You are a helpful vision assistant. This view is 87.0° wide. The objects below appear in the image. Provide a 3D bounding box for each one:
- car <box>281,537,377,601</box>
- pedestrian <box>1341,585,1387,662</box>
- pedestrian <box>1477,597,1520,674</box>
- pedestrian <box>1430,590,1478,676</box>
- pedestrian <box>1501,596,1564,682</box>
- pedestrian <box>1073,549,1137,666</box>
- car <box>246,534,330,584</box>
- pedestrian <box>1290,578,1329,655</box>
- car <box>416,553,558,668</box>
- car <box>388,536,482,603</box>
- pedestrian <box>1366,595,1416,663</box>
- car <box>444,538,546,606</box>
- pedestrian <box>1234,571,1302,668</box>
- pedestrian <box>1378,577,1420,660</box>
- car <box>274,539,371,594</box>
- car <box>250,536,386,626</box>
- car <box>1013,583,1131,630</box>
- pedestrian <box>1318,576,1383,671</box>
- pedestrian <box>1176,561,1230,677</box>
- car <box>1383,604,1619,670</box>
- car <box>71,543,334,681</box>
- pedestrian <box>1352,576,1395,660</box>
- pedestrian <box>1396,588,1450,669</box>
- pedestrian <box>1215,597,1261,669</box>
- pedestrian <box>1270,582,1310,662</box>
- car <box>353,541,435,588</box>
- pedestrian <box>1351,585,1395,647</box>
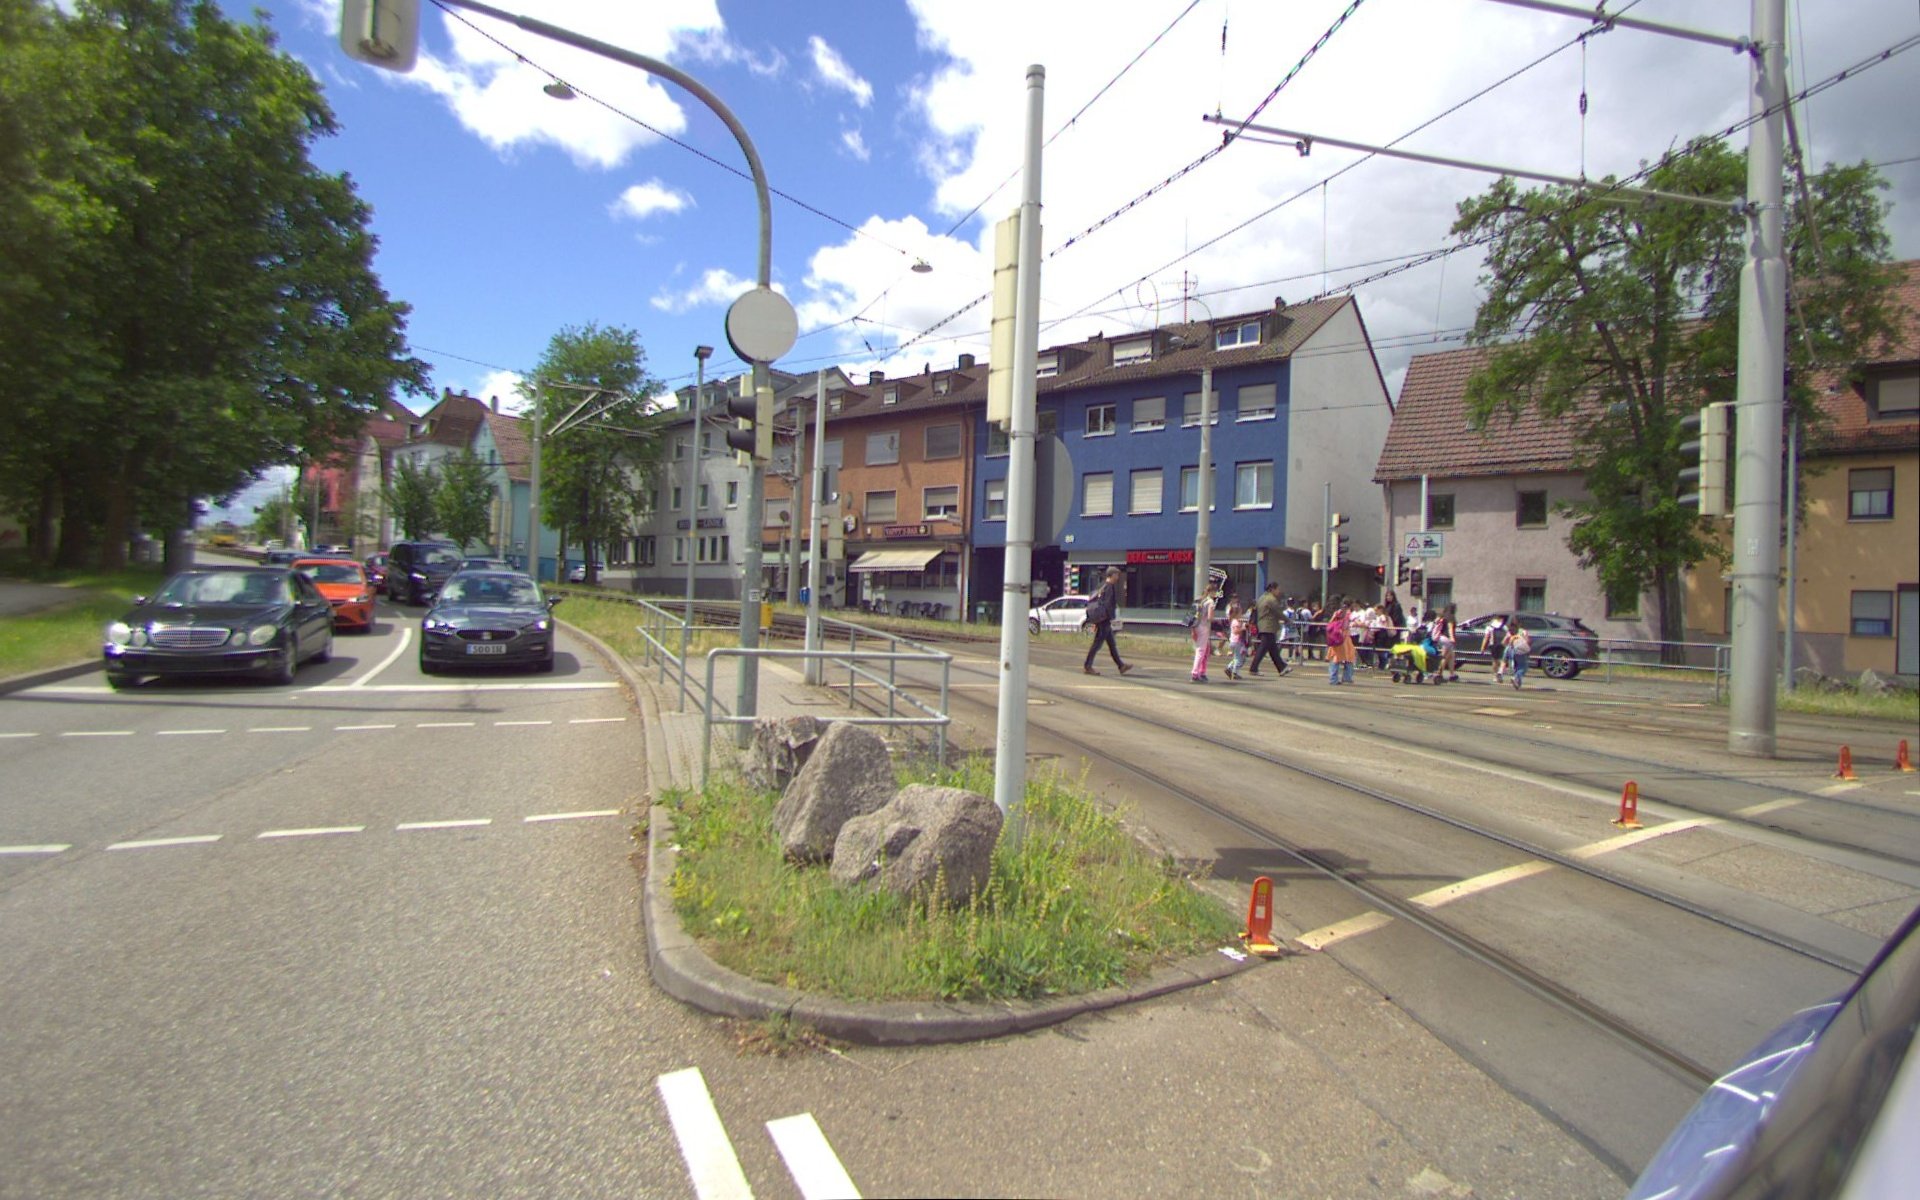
[{"bbox_3d":[-16.349,-0.794,26.381,1.864,1.482,4.005,1,1,-29],"label":"car"},{"bbox_3d":[8.514,0.497,21.347,0.575,1.586,0.676,3,-2,-22],"label":"pedestrian"},{"bbox_3d":[10.299,0.663,19.344,0.584,1.418,0.666,2,0,39],"label":"pedestrian"},{"bbox_3d":[9.289,0.605,19.026,0.585,1.546,0.664,3,1,44],"label":"pedestrian"},{"bbox_3d":[10.203,0.691,18.059,0.764,1.488,0.542,1,0,-2],"label":"pedestrian"},{"bbox_3d":[2.421,0.112,16.822,0.952,1.864,0.823,3,0,10],"label":"pedestrian"},{"bbox_3d":[-23.808,-1.432,35.814,1.965,1.639,3.994,1,1,-41],"label":"car"},{"bbox_3d":[8.240,0.384,23.884,0.672,1.771,0.579,2,1,41],"label":"pedestrian"},{"bbox_3d":[-7.131,0.045,15.594,1.703,1.455,4.104,0,4,-21],"label":"car"},{"bbox_3d":[-16.291,-0.945,31.315,1.818,1.904,4.146,1,1,-38],"label":"car"},{"bbox_3d":[9.122,0.613,21.439,0.575,1.392,0.782,1,1,-15],"label":"pedestrian"},{"bbox_3d":[-12.607,-0.753,27.304,1.890,1.659,4.002,1,1,-34],"label":"car"},{"bbox_3d":[5.479,0.332,18.047,0.874,1.672,0.827,1,0,-6],"label":"pedestrian"},{"bbox_3d":[9.641,0.395,22.214,0.672,1.771,0.579,2,1,41],"label":"pedestrian"},{"bbox_3d":[-20.144,-1.054,31.926,1.966,1.603,3.994,0,2,-42],"label":"car"},{"bbox_3d":[-13.244,-0.364,21.112,1.959,1.663,4.006,1,0,-27],"label":"car"},{"bbox_3d":[4.024,0.216,36.759,3.983,1.551,1.687,2,-1,41],"label":"car"},{"bbox_3d":[6.415,0.377,16.663,0.841,1.500,0.739,2,0,10],"label":"pedestrian"},{"bbox_3d":[3.816,0.286,15.939,0.681,1.772,0.750,1,0,7],"label":"pedestrian"},{"bbox_3d":[13.091,0.862,24.657,4.832,1.388,1.892,1,-2,40],"label":"car"},{"bbox_3d":[-9.632,0.084,13.281,2.011,1.483,4.331,1,1,-27],"label":"car"},{"bbox_3d":[8.984,0.370,21.984,0.672,1.771,0.579,2,1,41],"label":"pedestrian"},{"bbox_3d":[8.960,0.548,19.618,0.661,1.510,0.589,2,2,-10],"label":"pedestrian"},{"bbox_3d":[4.695,0.544,17.091,0.664,1.182,0.585,2,0,10],"label":"pedestrian"},{"bbox_3d":[7.530,0.498,23.088,0.741,1.772,0.585,2,0,10],"label":"pedestrian"},{"bbox_3d":[-20.694,-1.290,36.932,1.979,1.574,3.997,1,1,-38],"label":"car"},{"bbox_3d":[9.498,0.361,23.282,0.623,1.392,0.675,1,0,-38],"label":"pedestrian"}]
